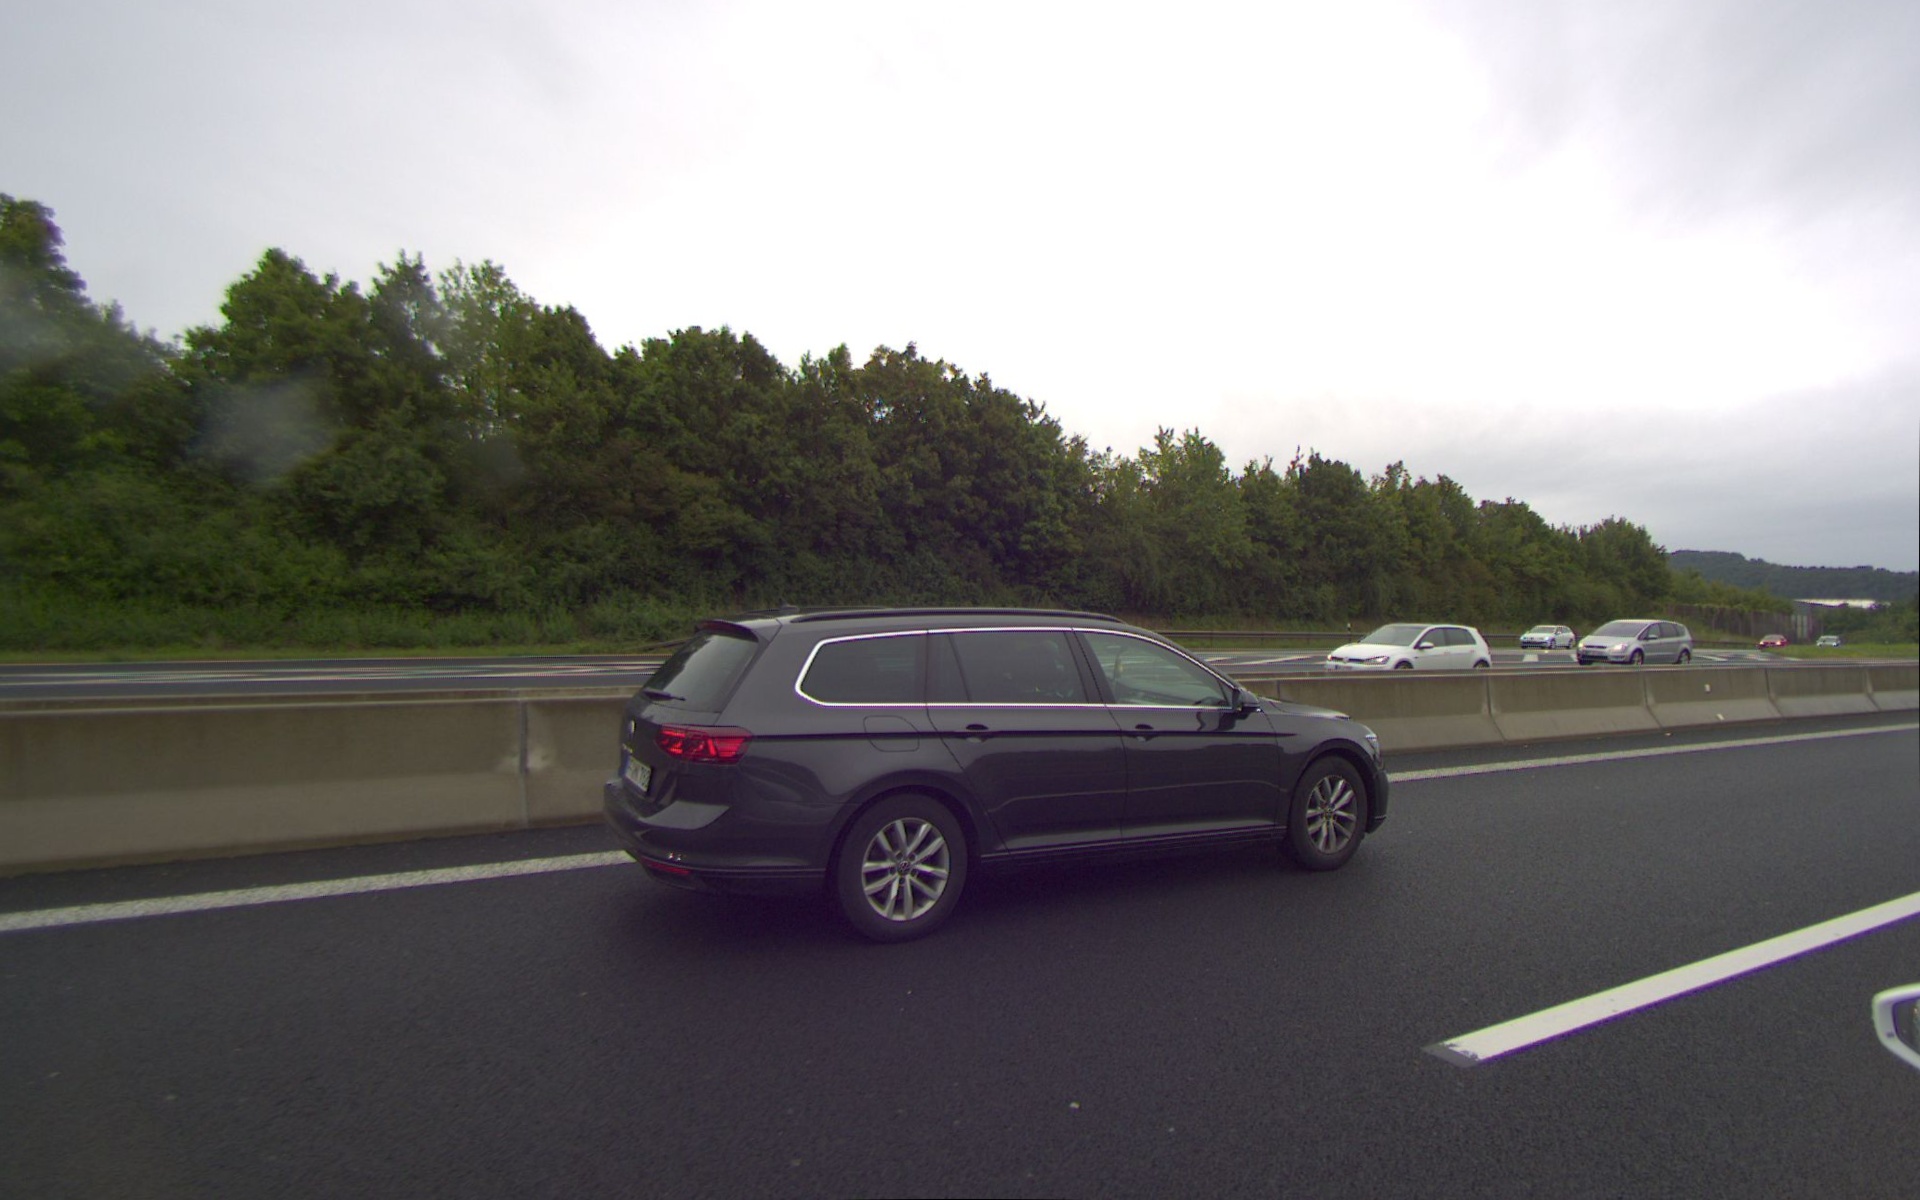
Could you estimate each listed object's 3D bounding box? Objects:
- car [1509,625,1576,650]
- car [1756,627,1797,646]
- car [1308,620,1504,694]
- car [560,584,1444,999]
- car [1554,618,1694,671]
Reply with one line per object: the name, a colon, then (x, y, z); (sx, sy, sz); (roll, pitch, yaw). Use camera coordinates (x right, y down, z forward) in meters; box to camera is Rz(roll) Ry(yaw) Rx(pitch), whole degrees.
car: (35.903, 2.283, 61.904); (4.350, 1.449, 2.163); (2, -1, -39)
car: (78.721, 3.492, 96.868); (4.588, 1.718, 2.163); (1, -1, -39)
car: (10.123, 1.246, 22.788); (4.088, 1.526, 1.975); (1, -1, -28)
car: (0.420, 0.747, 5.721); (4.795, 1.517, 1.891); (1, -1, -31)
car: (22.726, 1.488, 34.355); (4.481, 1.656, 2.171); (1, -1, -28)
